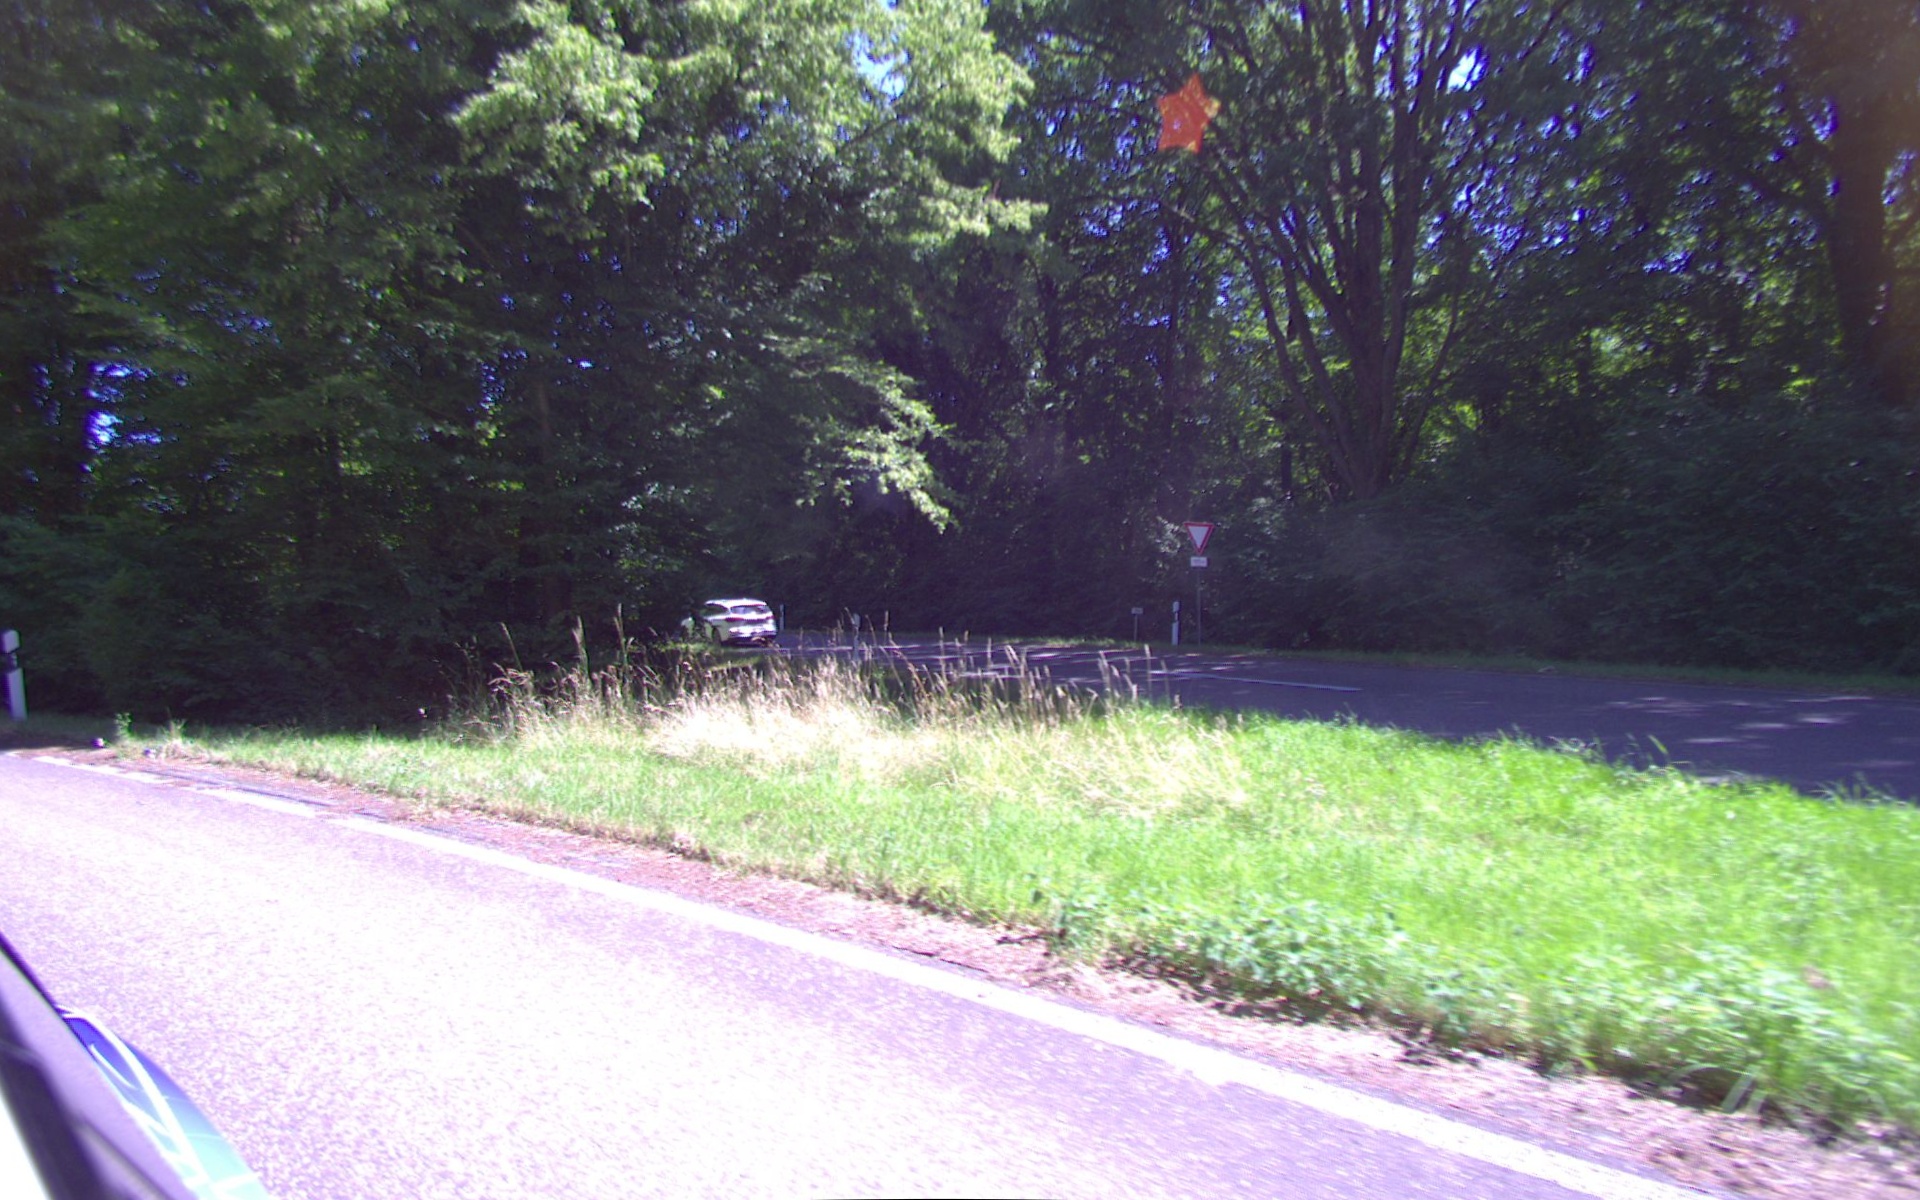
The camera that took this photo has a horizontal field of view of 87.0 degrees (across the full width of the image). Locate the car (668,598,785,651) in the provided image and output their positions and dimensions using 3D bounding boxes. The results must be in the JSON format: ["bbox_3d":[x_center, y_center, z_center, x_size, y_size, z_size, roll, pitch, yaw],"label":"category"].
[{"bbox_3d":[-7.400,0.777,31.646,1.732,1.463,4.881,-3,0,-36],"label":"car"}]
